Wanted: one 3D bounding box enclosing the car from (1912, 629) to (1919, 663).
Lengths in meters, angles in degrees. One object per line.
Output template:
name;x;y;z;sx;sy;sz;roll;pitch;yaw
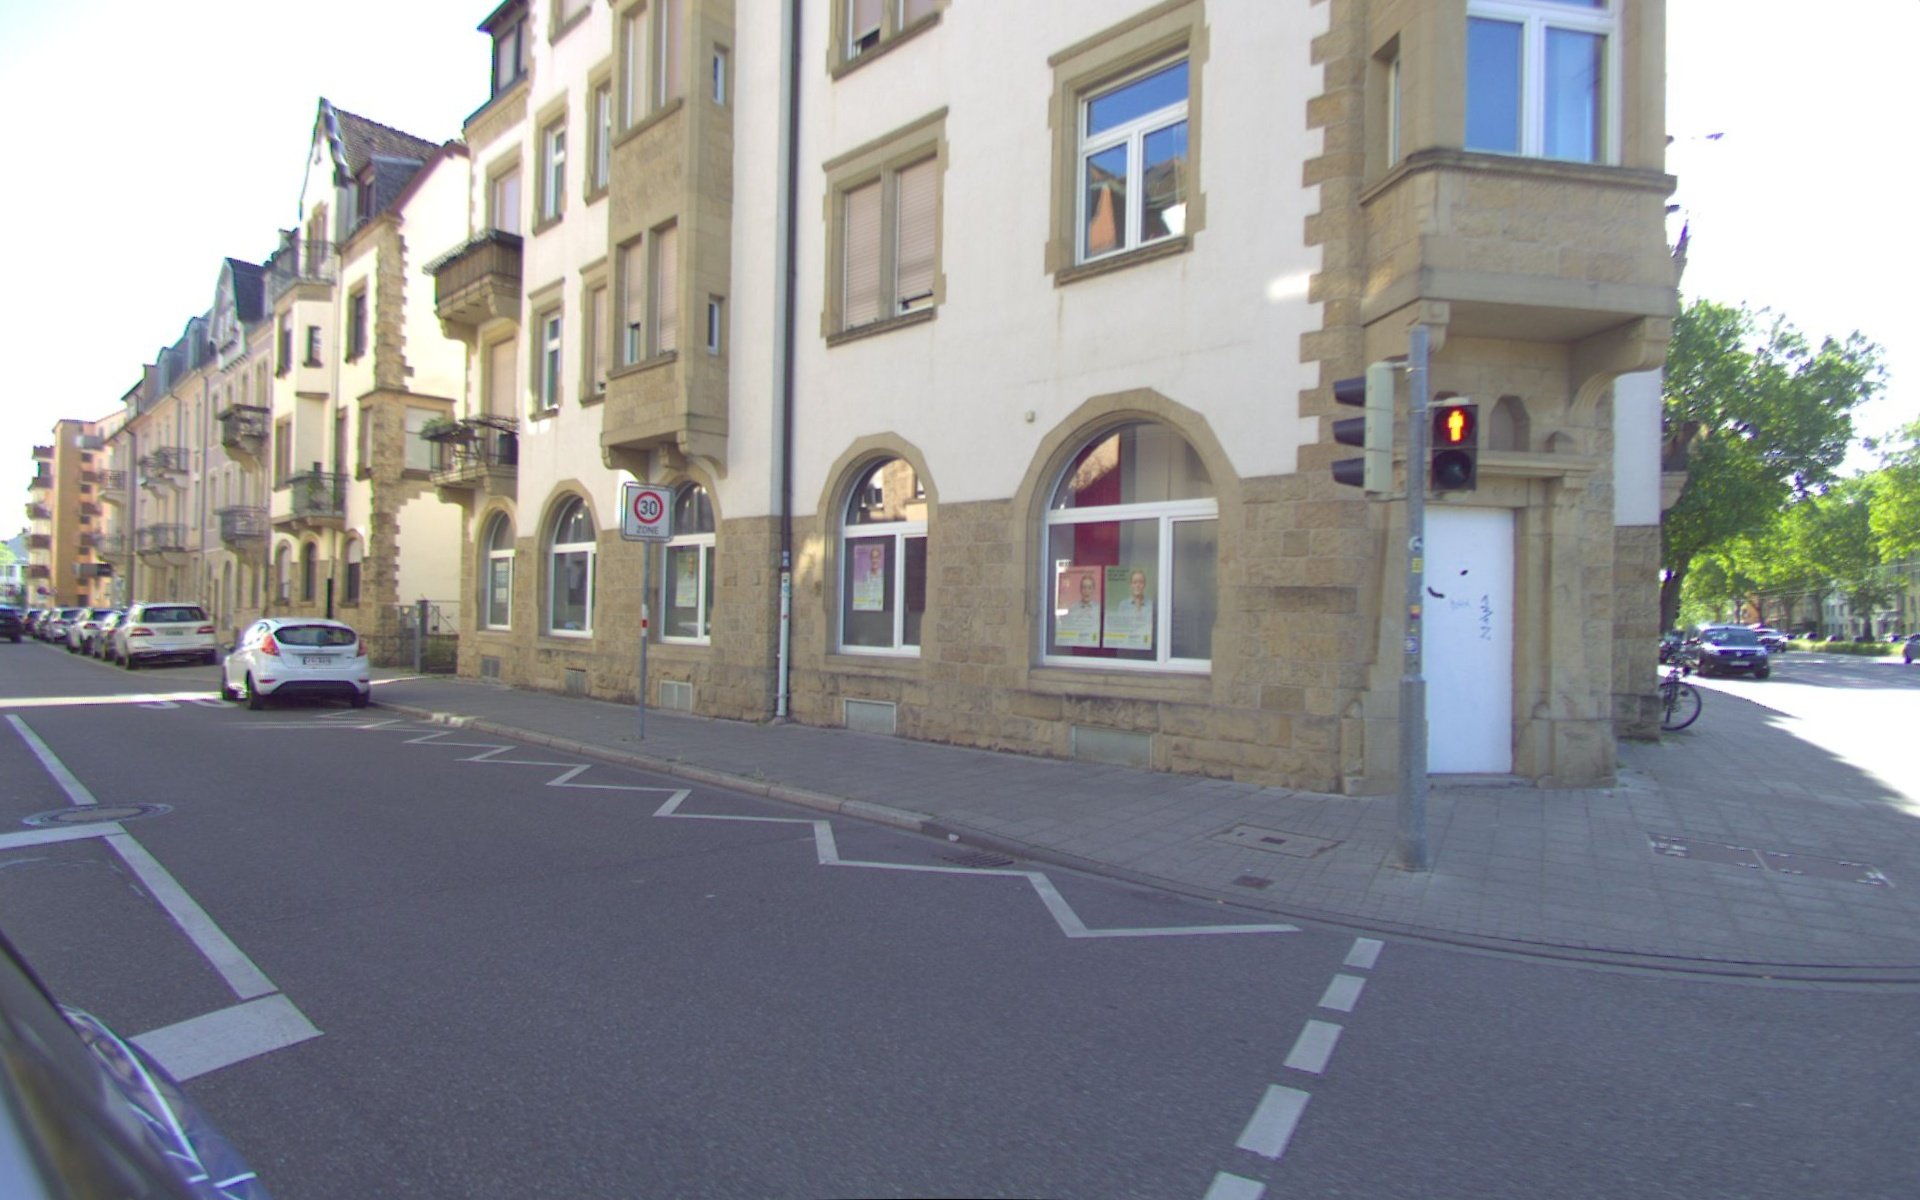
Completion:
car;44.031;2.061;44.879;1.759;1.541;3.857;-1;-2;30

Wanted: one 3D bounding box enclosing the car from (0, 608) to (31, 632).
car;-72.531;1.509;77.325;4.347;1.636;1.892;0;2;43

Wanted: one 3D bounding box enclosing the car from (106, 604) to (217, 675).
car;-21.886;1.002;27.675;1.891;1.671;4.349;-3;2;-45

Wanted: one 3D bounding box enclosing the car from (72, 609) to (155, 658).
car;-30.217;1.149;36.079;1.891;1.529;4.349;-3;2;-45

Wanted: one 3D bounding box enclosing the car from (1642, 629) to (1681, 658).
car;39.513;2.417;57.026;1.637;1.600;3.365;-1;-2;32

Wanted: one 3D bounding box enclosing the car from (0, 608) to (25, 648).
car;-43.871;1.241;45.997;1.890;1.741;4.350;3;-3;-43

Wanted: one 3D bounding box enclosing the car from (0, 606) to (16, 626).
car;-80.321;1.331;84.484;4.347;1.636;1.892;0;2;43

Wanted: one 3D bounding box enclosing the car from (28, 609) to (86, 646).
car;-44.768;1.301;50.124;1.891;1.636;4.349;-3;2;-45

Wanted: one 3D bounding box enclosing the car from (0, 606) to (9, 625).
car;-84.570;1.352;88.355;4.347;1.636;1.892;0;2;43

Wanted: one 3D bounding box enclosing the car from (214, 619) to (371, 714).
car;-11.336;1.073;17.100;1.534;1.422;3.574;4;-3;-44

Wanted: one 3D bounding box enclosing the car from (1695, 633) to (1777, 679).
car;25.927;1.836;33.927;1.760;1.400;3.854;0;-1;32

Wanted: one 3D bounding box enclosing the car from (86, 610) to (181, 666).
car;-26.104;1.133;31.902;1.891;1.529;4.349;-3;2;-45

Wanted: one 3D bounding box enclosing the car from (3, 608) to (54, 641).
car;-52.501;1.340;56.998;4.349;1.636;1.891;0;2;45

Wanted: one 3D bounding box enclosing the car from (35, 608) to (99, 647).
car;-40.227;1.194;45.569;1.891;1.529;4.349;-3;2;-45

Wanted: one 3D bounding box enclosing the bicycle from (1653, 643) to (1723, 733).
bicycle;10.232;1.202;14.267;0.608;1.142;1.792;0;-1;30
